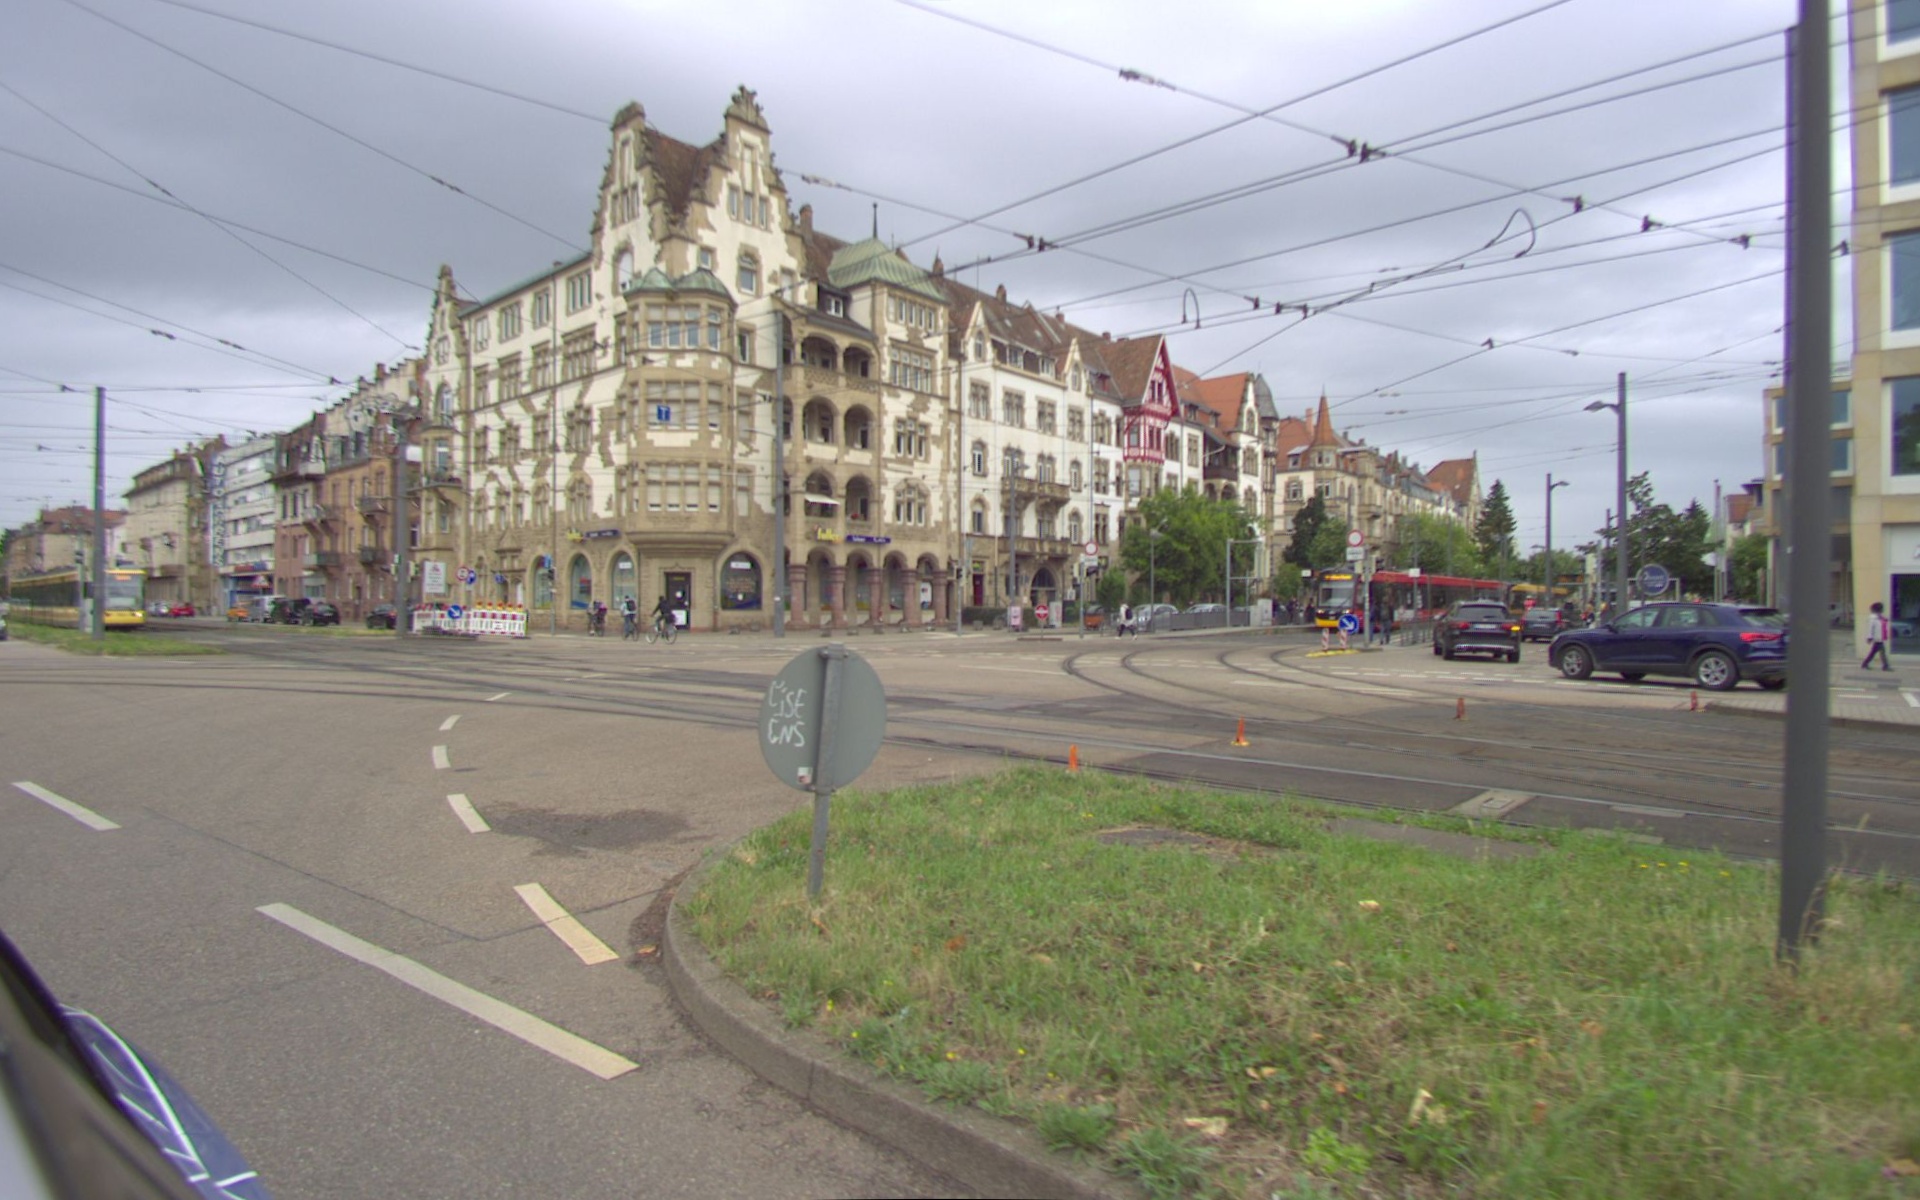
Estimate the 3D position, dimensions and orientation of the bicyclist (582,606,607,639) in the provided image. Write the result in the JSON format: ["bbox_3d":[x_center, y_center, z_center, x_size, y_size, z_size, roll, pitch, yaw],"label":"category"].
[{"bbox_3d":[-15.996,0.979,44.316,0.698,1.455,0.973,1,-1,-44],"label":"bicyclist"}]

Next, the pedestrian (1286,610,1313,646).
[{"bbox_3d":[19.378,1.570,57.748,1.121,2.029,1.056,1,0,38],"label":"pedestrian"}]

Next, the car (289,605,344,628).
[{"bbox_3d":[-42.876,1.064,67.383,3.996,1.453,1.974,1,0,39],"label":"car"}]

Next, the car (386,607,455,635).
[{"bbox_3d":[-29.835,1.144,55.941,3.996,1.453,1.974,1,0,39],"label":"car"}]

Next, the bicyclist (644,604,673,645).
[{"bbox_3d":[-11.212,0.913,37.637,0.764,1.532,0.741,-2,-2,38],"label":"bicyclist"}]

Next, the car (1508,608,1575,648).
[{"bbox_3d":[25.092,1.158,43.594,1.997,1.608,3.949,0,-1,38],"label":"car"}]

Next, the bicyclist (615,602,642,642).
[{"bbox_3d":[-13.493,0.894,41.191,0.859,1.618,0.714,-2,-2,41],"label":"bicyclist"}]

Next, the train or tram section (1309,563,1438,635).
[{"bbox_3d":[23.147,0.006,55.932,2.601,3.540,13.930,1,0,39],"label":"train or tram section"}]

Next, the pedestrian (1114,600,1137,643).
[{"bbox_3d":[6.754,0.869,41.385,0.704,1.699,0.600,1,0,40],"label":"pedestrian"}]

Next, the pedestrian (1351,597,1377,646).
[{"bbox_3d":[14.925,0.782,37.400,0.683,1.767,0.848,1,0,37],"label":"pedestrian"}]

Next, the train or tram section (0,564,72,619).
[{"bbox_3d":[-64.328,-0.590,70.183,13.618,3.463,2.616,1,0,43],"label":"train or tram section"}]

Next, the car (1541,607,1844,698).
[{"bbox_3d":[13.567,0.887,19.110,1.714,1.505,4.381,0,0,-22],"label":"car"}]

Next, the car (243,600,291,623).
[{"bbox_3d":[-52.041,0.868,75.995,3.996,1.608,1.974,1,0,39],"label":"car"}]

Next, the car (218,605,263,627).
[{"bbox_3d":[-57.245,1.244,80.513,3.996,1.608,1.974,1,0,39],"label":"car"}]

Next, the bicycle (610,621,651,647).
[{"bbox_3d":[-13.400,1.382,41.097,1.908,1.045,0.714,-2,-2,42],"label":"bicycle"}]

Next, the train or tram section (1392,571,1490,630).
[{"bbox_3d":[31.967,0.091,66.785,2.601,3.540,13.930,1,0,39],"label":"train or tram section"}]

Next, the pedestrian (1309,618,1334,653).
[{"bbox_3d":[21.634,2.092,60.628,1.121,2.029,1.056,1,0,38],"label":"pedestrian"}]

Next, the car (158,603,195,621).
[{"bbox_3d":[-75.202,1.125,97.152,3.996,1.608,1.974,1,0,39],"label":"car"}]

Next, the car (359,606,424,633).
[{"bbox_3d":[-33.035,1.136,58.785,3.996,1.453,1.974,1,0,39],"label":"car"}]

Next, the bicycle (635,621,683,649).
[{"bbox_3d":[-11.209,1.302,37.634,1.912,1.045,0.741,-2,-2,38],"label":"bicycle"}]

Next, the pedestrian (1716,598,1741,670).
[{"bbox_3d":[19.527,0.852,25.716,0.460,1.807,0.412,1,0,32],"label":"pedestrian"}]

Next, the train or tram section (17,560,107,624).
[{"bbox_3d":[-54.273,-0.485,60.983,13.618,3.463,2.616,1,0,43],"label":"train or tram section"}]

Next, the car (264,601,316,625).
[{"bbox_3d":[-47.316,0.929,71.438,3.996,1.608,1.974,1,0,39],"label":"car"}]

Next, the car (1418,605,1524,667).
[{"bbox_3d":[14.389,0.949,28.732,1.727,1.611,4.302,0,0,14],"label":"car"}]

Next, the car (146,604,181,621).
[{"bbox_3d":[-79.973,1.266,101.629,3.996,1.608,1.974,1,0,39],"label":"car"}]

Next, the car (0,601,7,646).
[{"bbox_3d":[-37.690,0.865,38.373,3.773,1.652,1.845,1,0,41],"label":"car"}]

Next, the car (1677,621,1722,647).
[{"bbox_3d":[42.964,1.969,58.777,1.722,1.431,3.248,0,-1,43],"label":"car"}]

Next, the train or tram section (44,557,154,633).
[{"bbox_3d":[-44.267,-0.284,51.790,13.618,3.463,2.616,1,0,43],"label":"train or tram section"}]

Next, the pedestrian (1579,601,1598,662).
[{"bbox_3d":[19.000,0.946,30.583,0.460,1.807,0.412,1,0,32],"label":"pedestrian"}]

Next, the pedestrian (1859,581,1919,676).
[{"bbox_3d":[20.524,0.602,22.333,0.997,2.029,1.032,1,0,41],"label":"pedestrian"}]

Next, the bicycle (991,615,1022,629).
[{"bbox_3d":[2.573,1.236,56.416,1.803,0.744,0.554,1,0,42],"label":"bicycle"}]

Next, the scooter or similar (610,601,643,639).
[{"bbox_3d":[-15.453,0.910,46.920,1.829,1.728,0.558,1,0,40],"label":"scooter or similar"}]

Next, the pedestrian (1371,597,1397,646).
[{"bbox_3d":[15.494,0.790,36.957,0.683,1.767,0.848,1,0,37],"label":"pedestrian"}]

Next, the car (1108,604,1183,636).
[{"bbox_3d":[9.211,0.969,50.063,1.801,1.522,3.942,1,0,44],"label":"car"}]

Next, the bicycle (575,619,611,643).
[{"bbox_3d":[-16.109,1.341,44.427,0.698,1.045,2.024,1,-1,-44],"label":"bicycle"}]
